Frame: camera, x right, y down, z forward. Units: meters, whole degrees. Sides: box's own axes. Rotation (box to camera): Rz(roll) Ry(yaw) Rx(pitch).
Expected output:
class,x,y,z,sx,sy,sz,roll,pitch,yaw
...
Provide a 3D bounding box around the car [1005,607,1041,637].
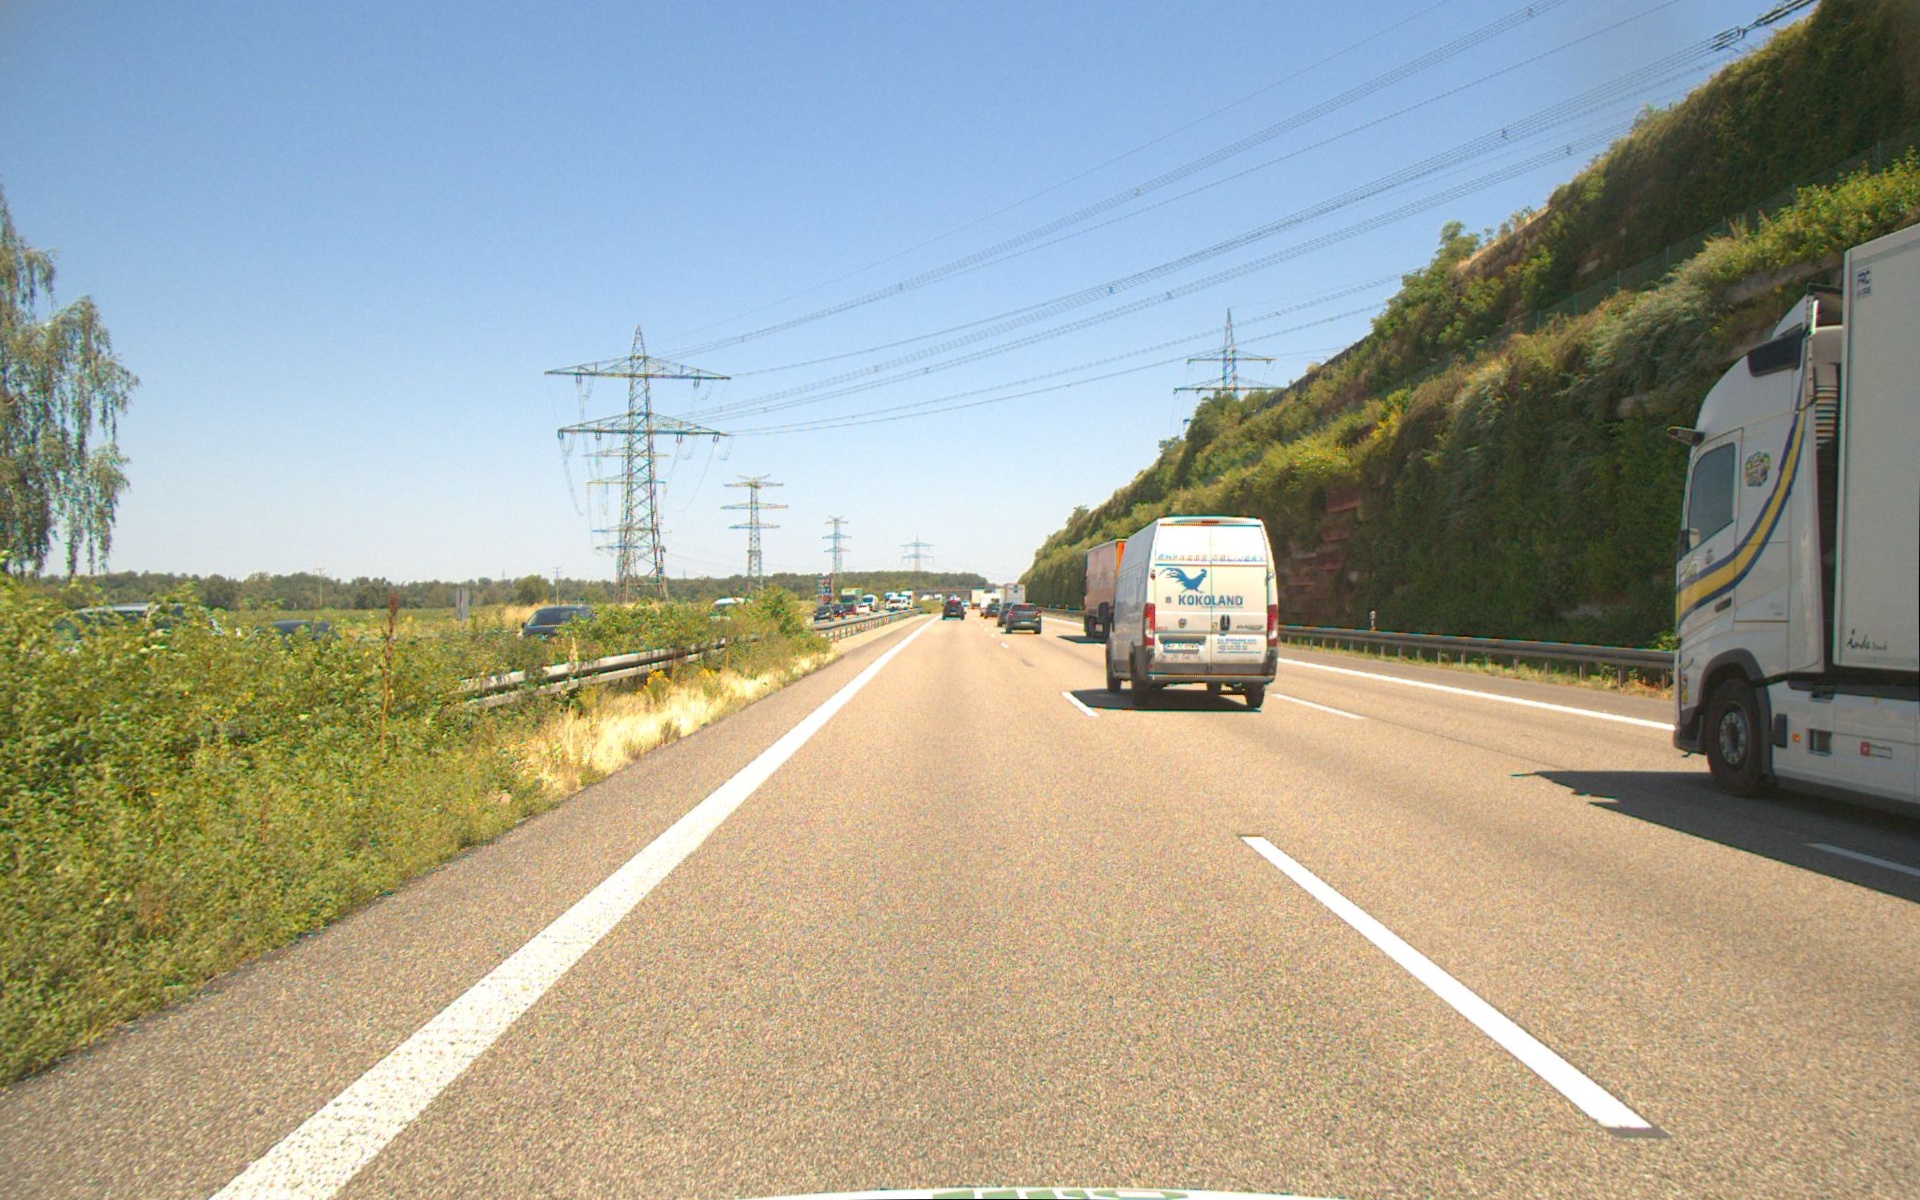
class,x,y,z,sx,sy,sz,roll,pitch,yaw
car,3.232,1.124,85.808,1.713,1.552,3.995,0,0,0

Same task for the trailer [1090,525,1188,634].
class,x,y,z,sx,sy,sz,roll,pitch,yaw
trailer,7.253,-0.752,68.830,2.591,4.075,13.605,0,0,0

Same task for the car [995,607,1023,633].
class,x,y,z,sx,sy,sz,roll,pitch,yaw
car,3.220,1.276,109.580,1.757,1.682,4.138,0,0,0

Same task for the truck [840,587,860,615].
class,x,y,z,sx,sy,sz,roll,pitch,yaw
truck,-17.287,0.135,259.575,2.644,4.207,6.580,-1,0,0

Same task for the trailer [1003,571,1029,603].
class,x,y,z,sx,sy,sz,roll,pitch,yaw
trailer,7.657,-1.680,226.908,3.117,4.193,13.431,-1,0,1

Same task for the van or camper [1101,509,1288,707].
class,x,y,z,sx,sy,sz,roll,pitch,yaw
van or camper,3.642,0.117,27.033,2.054,2.817,6.756,0,0,-1

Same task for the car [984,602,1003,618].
class,x,y,z,sx,sy,sz,roll,pitch,yaw
car,3.308,0.963,161.542,1.792,1.552,4.000,-1,0,1

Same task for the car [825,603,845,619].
class,x,y,z,sx,sy,sz,roll,pitch,yaw
car,-14.019,1.275,186.043,1.803,1.658,4.413,-3,0,0

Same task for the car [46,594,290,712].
class,x,y,z,sx,sy,sz,roll,pitch,yaw
car,-13.220,0.821,27.997,1.752,1.796,5.016,-1,0,-1

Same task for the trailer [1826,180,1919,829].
class,x,y,z,sx,sy,sz,roll,pitch,yaw
trailer,7.632,-0.614,3.580,2.463,4.285,17.025,0,0,-1

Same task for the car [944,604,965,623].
class,x,y,z,sx,sy,sz,roll,pitch,yaw
car,-0.492,1.202,148.815,1.792,1.700,4.000,-1,0,0

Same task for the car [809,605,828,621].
class,x,y,z,sx,sy,sz,roll,pitch,yaw
car,-13.904,1.252,162.401,1.585,1.485,4.282,-3,0,-2

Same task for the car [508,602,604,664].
class,x,y,z,sx,sy,sz,roll,pitch,yaw
car,-12.314,0.966,50.730,1.752,1.796,5.016,-1,0,-1

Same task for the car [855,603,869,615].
class,x,y,z,sx,sy,sz,roll,pitch,yaw
car,-13.914,1.251,235.186,1.673,1.550,4.513,-3,0,-1

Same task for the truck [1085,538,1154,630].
class,x,y,z,sx,sy,sz,roll,pitch,yaw
truck,7.246,-0.703,75.896,2.564,4.062,6.526,0,0,0

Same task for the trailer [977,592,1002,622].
class,x,y,z,sx,sy,sz,roll,pitch,yaw
trailer,3.252,0.766,185.558,2.557,3.269,9.952,-1,0,0

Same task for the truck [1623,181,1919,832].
class,x,y,z,sx,sy,sz,roll,pitch,yaw
truck,7.547,-0.593,12.541,2.456,4.294,6.255,1,0,0
